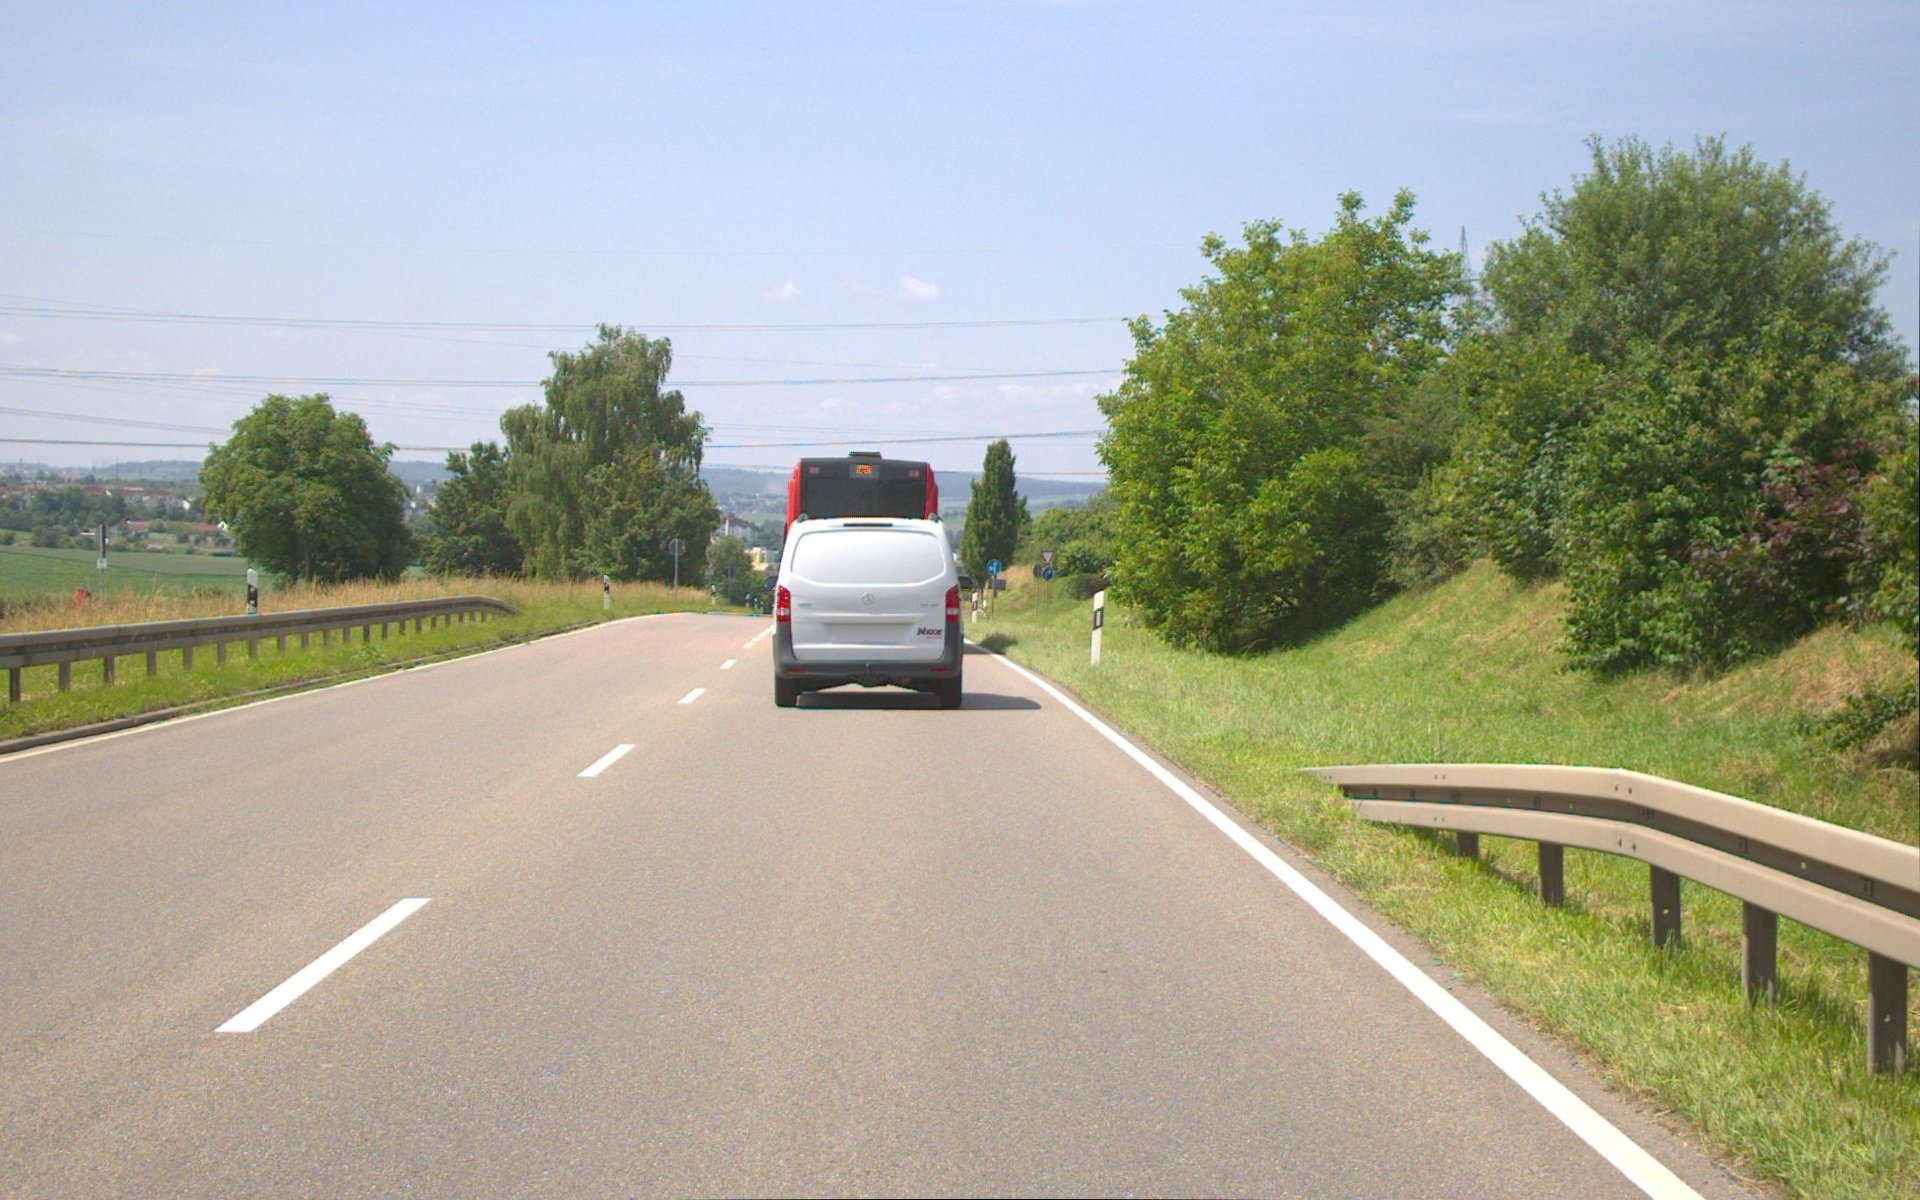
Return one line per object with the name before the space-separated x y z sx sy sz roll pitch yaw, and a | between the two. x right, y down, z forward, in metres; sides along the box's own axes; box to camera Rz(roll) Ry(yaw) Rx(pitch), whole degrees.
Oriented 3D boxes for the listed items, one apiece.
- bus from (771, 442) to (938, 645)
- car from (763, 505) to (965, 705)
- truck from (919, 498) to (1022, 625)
bus | -1.901 -1.115 63.242 2.747 3.342 13.223 0 2 -1
car | -0.957 -0.003 35.267 1.923 1.883 4.001 1 2 -1
truck | 0.278 -1.380 129.166 3.488 4.408 14.903 1 0 -1
